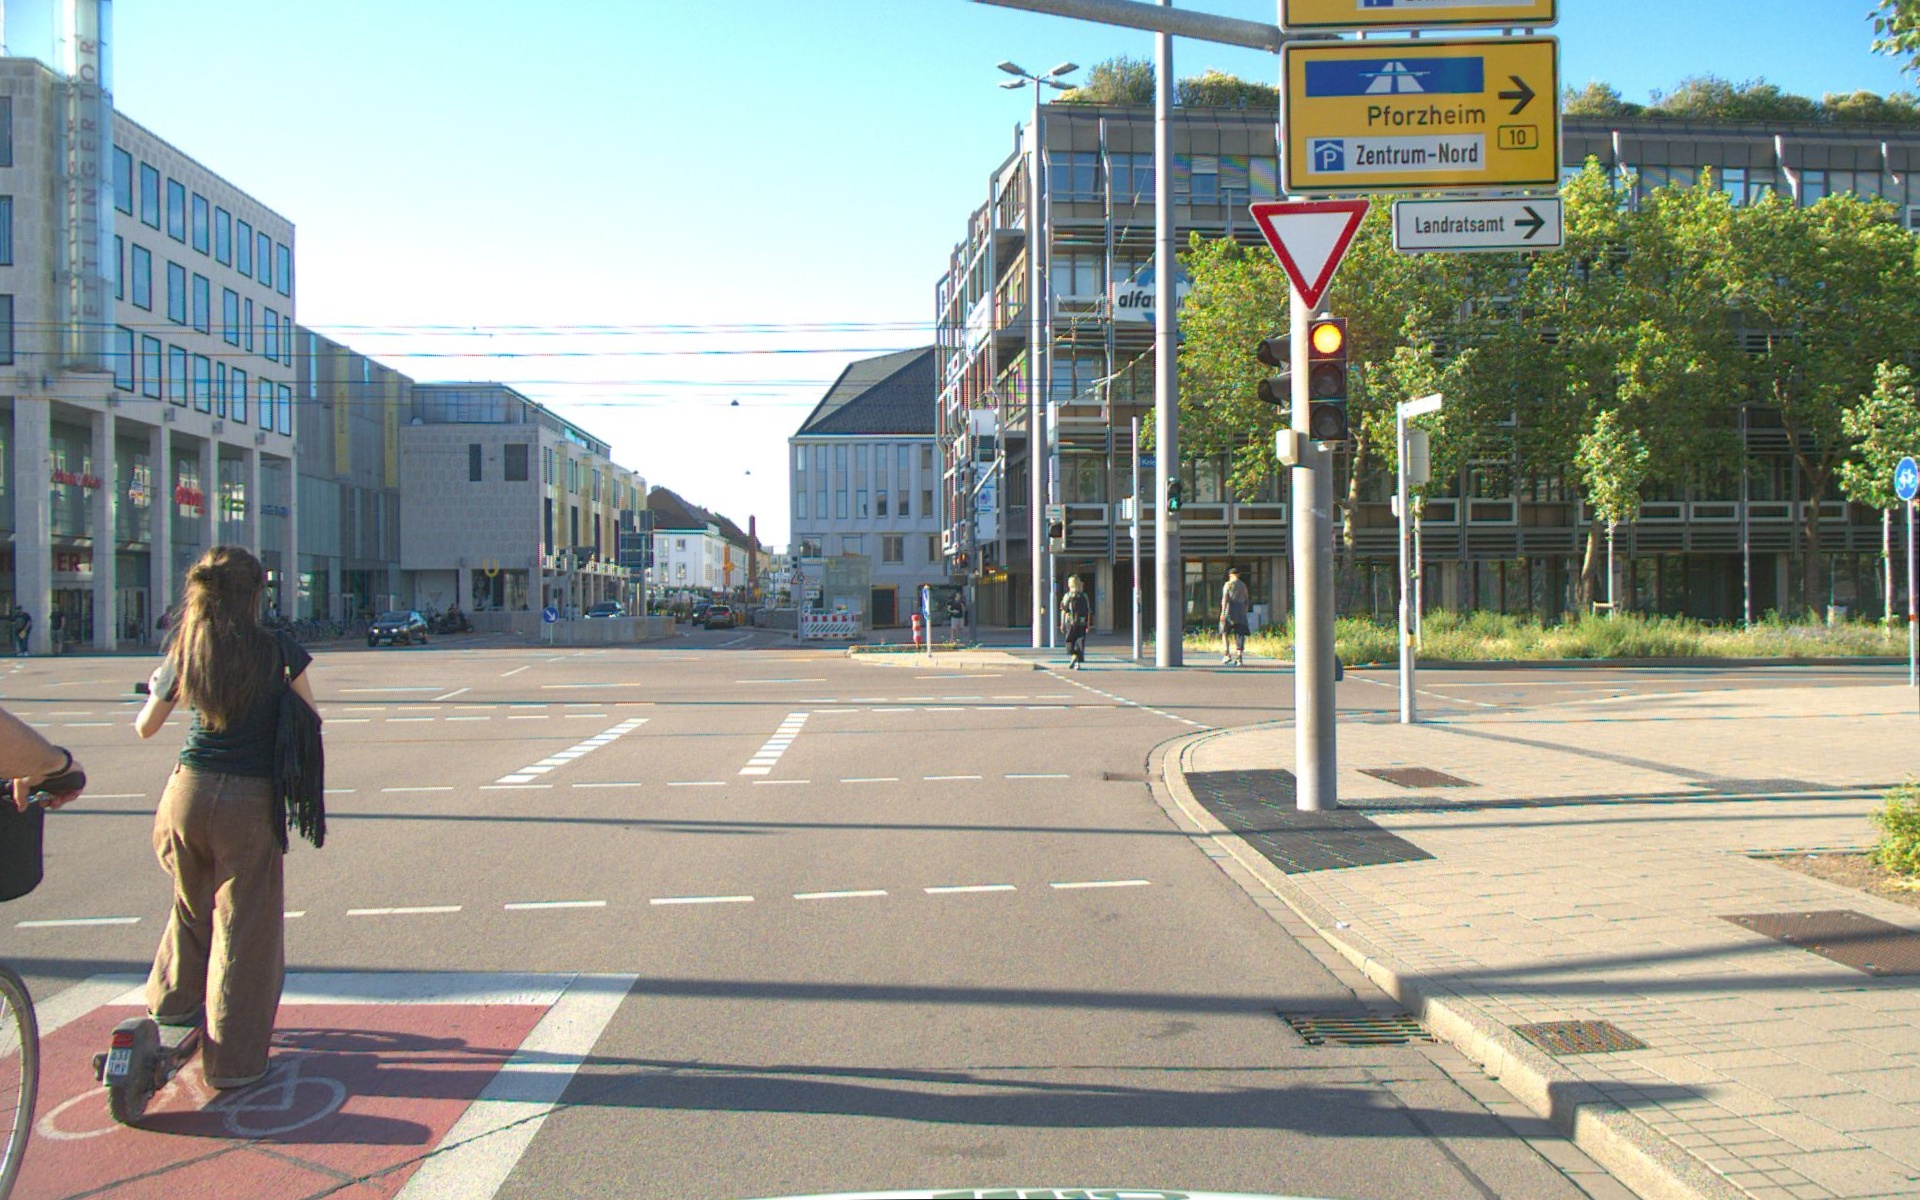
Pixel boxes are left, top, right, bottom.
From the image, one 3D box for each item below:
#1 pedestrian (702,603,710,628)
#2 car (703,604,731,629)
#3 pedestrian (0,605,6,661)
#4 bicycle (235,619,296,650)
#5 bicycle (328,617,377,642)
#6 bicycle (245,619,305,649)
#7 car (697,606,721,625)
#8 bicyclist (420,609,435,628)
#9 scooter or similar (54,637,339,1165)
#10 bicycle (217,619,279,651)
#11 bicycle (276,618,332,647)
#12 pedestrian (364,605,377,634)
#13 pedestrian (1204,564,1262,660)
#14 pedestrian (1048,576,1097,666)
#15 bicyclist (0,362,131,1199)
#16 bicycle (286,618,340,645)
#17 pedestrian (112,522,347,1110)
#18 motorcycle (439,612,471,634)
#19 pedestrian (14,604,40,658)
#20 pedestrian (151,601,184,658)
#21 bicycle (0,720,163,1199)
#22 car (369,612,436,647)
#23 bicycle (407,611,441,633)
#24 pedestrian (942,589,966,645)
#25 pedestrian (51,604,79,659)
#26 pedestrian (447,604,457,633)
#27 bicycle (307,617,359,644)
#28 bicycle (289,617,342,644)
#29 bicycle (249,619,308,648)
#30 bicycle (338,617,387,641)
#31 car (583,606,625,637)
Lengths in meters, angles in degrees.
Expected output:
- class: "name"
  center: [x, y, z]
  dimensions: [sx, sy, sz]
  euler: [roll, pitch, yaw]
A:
- class: "pedestrian"
  center: [-17.888, 1.087, 116.694]
  dimensions: [0.511, 1.709, 0.582]
  euler: [1, 0, -8]
- class: "car"
  center: [-15.825, 1.084, 107.946]
  dimensions: [1.705, 1.558, 3.849]
  euler: [1, 0, -8]
- class: "pedestrian"
  center: [-33.211, 1.134, 56.810]
  dimensions: [0.706, 1.918, 0.780]
  euler: [1, -1, -28]
- class: "bicycle"
  center: [-29.129, 1.448, 69.404]
  dimensions: [2.260, 1.244, 0.611]
  euler: [0, 0, -3]
- class: "bicycle"
  center: [-30.929, 1.485, 84.269]
  dimensions: [2.260, 1.244, 0.611]
  euler: [0, 0, -3]
- class: "bicycle"
  center: [-29.293, 1.451, 70.757]
  dimensions: [2.260, 1.244, 0.611]
  euler: [0, 0, -3]
- class: "car"
  center: [-22.793, 1.391, 150.267]
  dimensions: [1.762, 1.686, 3.996]
  euler: [1, 0, -5]
- class: "bicyclist"
  center: [-30.274, 1.057, 93.975]
  dimensions: [0.502, 1.103, 0.621]
  euler: [1, 0, 42]
- class: "scooter or similar"
  center: [-2.186, 0.783, 4.859]
  dimensions: [0.538, 1.316, 1.189]
  euler: [1, 0, -15]
- class: "bicycle"
  center: [-29.337, 1.438, 68.118]
  dimensions: [2.260, 1.244, 0.611]
  euler: [0, 0, -3]
- class: "bicycle"
  center: [-29.607, 1.464, 74.699]
  dimensions: [2.260, 1.244, 0.611]
  euler: [0, 0, -3]
- class: "pedestrian"
  center: [-35.103, 1.171, 98.480]
  dimensions: [0.560, 1.709, 0.614]
  euler: [1, 0, -10]
- class: "pedestrian"
  center: [4.937, 0.211, 29.935]
  dimensions: [0.861, 1.694, 0.964]
  euler: [1, -1, -1]
- class: "pedestrian"
  center: [1.932, 0.357, 28.541]
  dimensions: [0.772, 1.518, 0.644]
  euler: [1, -1, -1]
- class: "bicyclist"
  center: [-1.986, 0.461, 2.851]
  dimensions: [0.647, 1.750, 0.865]
  euler: [1, -1, -1]
- class: "bicycle"
  center: [-30.067, 1.466, 76.850]
  dimensions: [2.260, 1.244, 0.611]
  euler: [0, 0, -3]
- class: "pedestrian"
  center: [-2.196, 0.614, 5.027]
  dimensions: [0.540, 1.661, 0.569]
  euler: [1, -1, -16]
- class: "motorcycle"
  center: [-29.762, 1.349, 97.477]
  dimensions: [1.775, 1.228, 0.509]
  euler: [1, 0, -16]
- class: "pedestrian"
  center: [-32.866, 1.088, 58.265]
  dimensions: [0.787, 1.876, 0.856]
  euler: [0, 0, -29]
- class: "pedestrian"
  center: [-28.745, 1.063, 59.975]
  dimensions: [0.868, 2.049, 0.771]
  euler: [1, -1, -12]
- class: "bicycle"
  center: [-2.090, 0.866, 2.926]
  dimensions: [0.475, 1.176, 1.831]
  euler: [1, 0, -1]
- class: "car"
  center: [-23.381, 1.222, 69.485]
  dimensions: [1.597, 1.365, 3.998]
  euler: [-3, 0, -3]
- class: "bicycle"
  center: [-30.418, 1.268, 93.831]
  dimensions: [0.502, 1.228, 1.800]
  euler: [1, 0, 41]
- class: "pedestrian"
  center: [-0.207, 0.593, 57.296]
  dimensions: [0.772, 1.923, 0.644]
  euler: [1, -1, -1]
- class: "pedestrian"
  center: [-31.175, 1.080, 57.605]
  dimensions: [0.788, 1.876, 0.854]
  euler: [0, 0, -33]
- class: "pedestrian"
  center: [-30.099, 1.095, 98.080]
  dimensions: [0.512, 1.709, 0.581]
  euler: [1, 0, -14]
- class: "bicycle"
  center: [-30.336, 1.476, 80.052]
  dimensions: [2.260, 1.244, 0.611]
  euler: [0, 0, -3]
- class: "bicycle"
  center: [-30.716, 1.463, 78.820]
  dimensions: [2.260, 1.244, 0.611]
  euler: [0, 0, -3]
- class: "bicycle"
  center: [-29.507, 1.451, 71.634]
  dimensions: [2.260, 1.244, 0.611]
  euler: [0, 0, -3]
- class: "bicycle"
  center: [-30.817, 1.492, 85.339]
  dimensions: [2.260, 1.244, 0.611]
  euler: [0, 0, -3]
- class: "car"
  center: [-20.261, 1.188, 94.322]
  dimensions: [1.762, 1.686, 3.996]
  euler: [1, 0, -5]
